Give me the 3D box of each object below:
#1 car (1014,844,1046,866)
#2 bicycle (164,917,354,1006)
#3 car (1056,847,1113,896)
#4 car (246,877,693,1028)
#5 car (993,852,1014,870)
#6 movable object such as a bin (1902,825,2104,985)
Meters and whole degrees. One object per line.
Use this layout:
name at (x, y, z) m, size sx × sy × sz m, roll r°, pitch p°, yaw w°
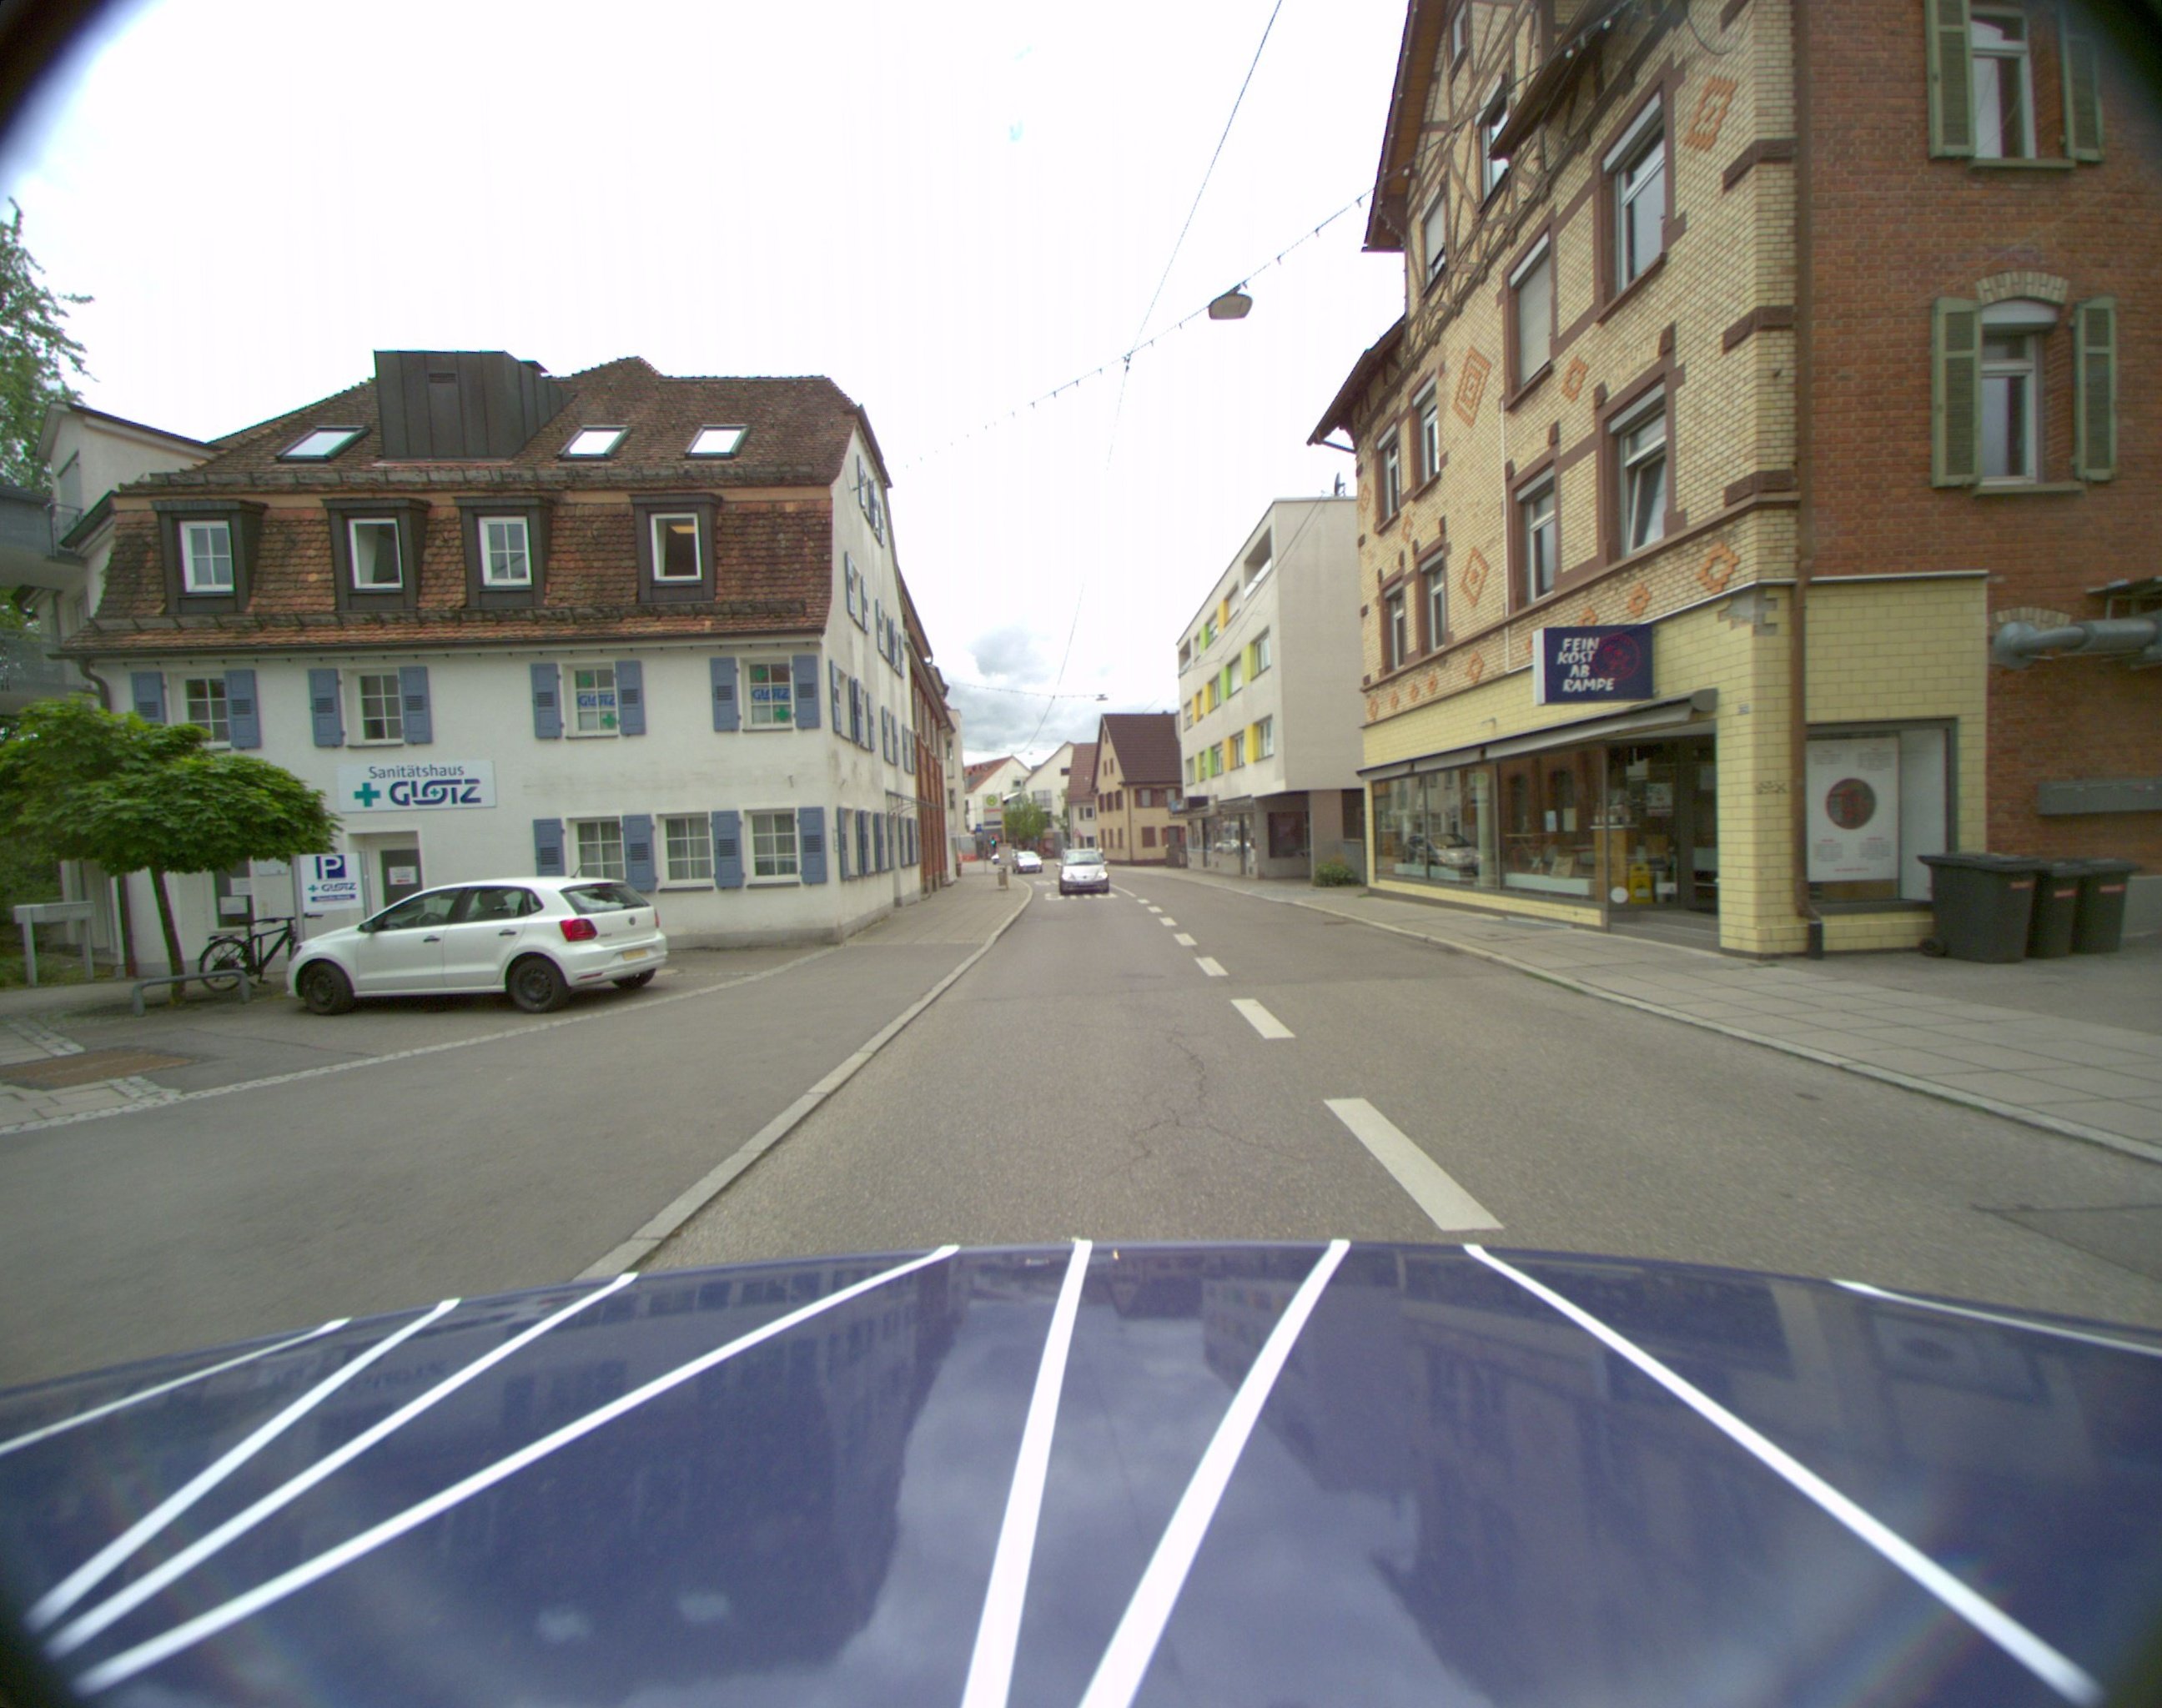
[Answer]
car at (-3.578, 0.036, 52.816) m, size 1.756 × 1.347 × 3.996 m, roll -3°, pitch 1°, yaw -10°
bicycle at (-11.004, 1.424, 10.200) m, size 1.915 × 1.055 × 0.616 m, roll -2°, pitch 0°, yaw 3°
car at (0.075, 0.564, 27.729) m, size 1.895 × 1.618 × 3.999 m, roll -2°, pitch 1°, yaw -1°
car at (-7.019, 1.091, 9.018) m, size 3.800 × 1.410 × 1.898 m, roll -2°, pitch 1°, yaw 5°
car at (-8.170, 0.686, 80.333) m, size 2.001 × 1.618 × 3.997 m, roll -4°, pitch 2°, yaw -5°
movable object such as a bin at (8.871, 0.457, 7.364) m, size 0.944 × 1.371 × 0.822 m, roll -5°, pitch 5°, yaw 0°
